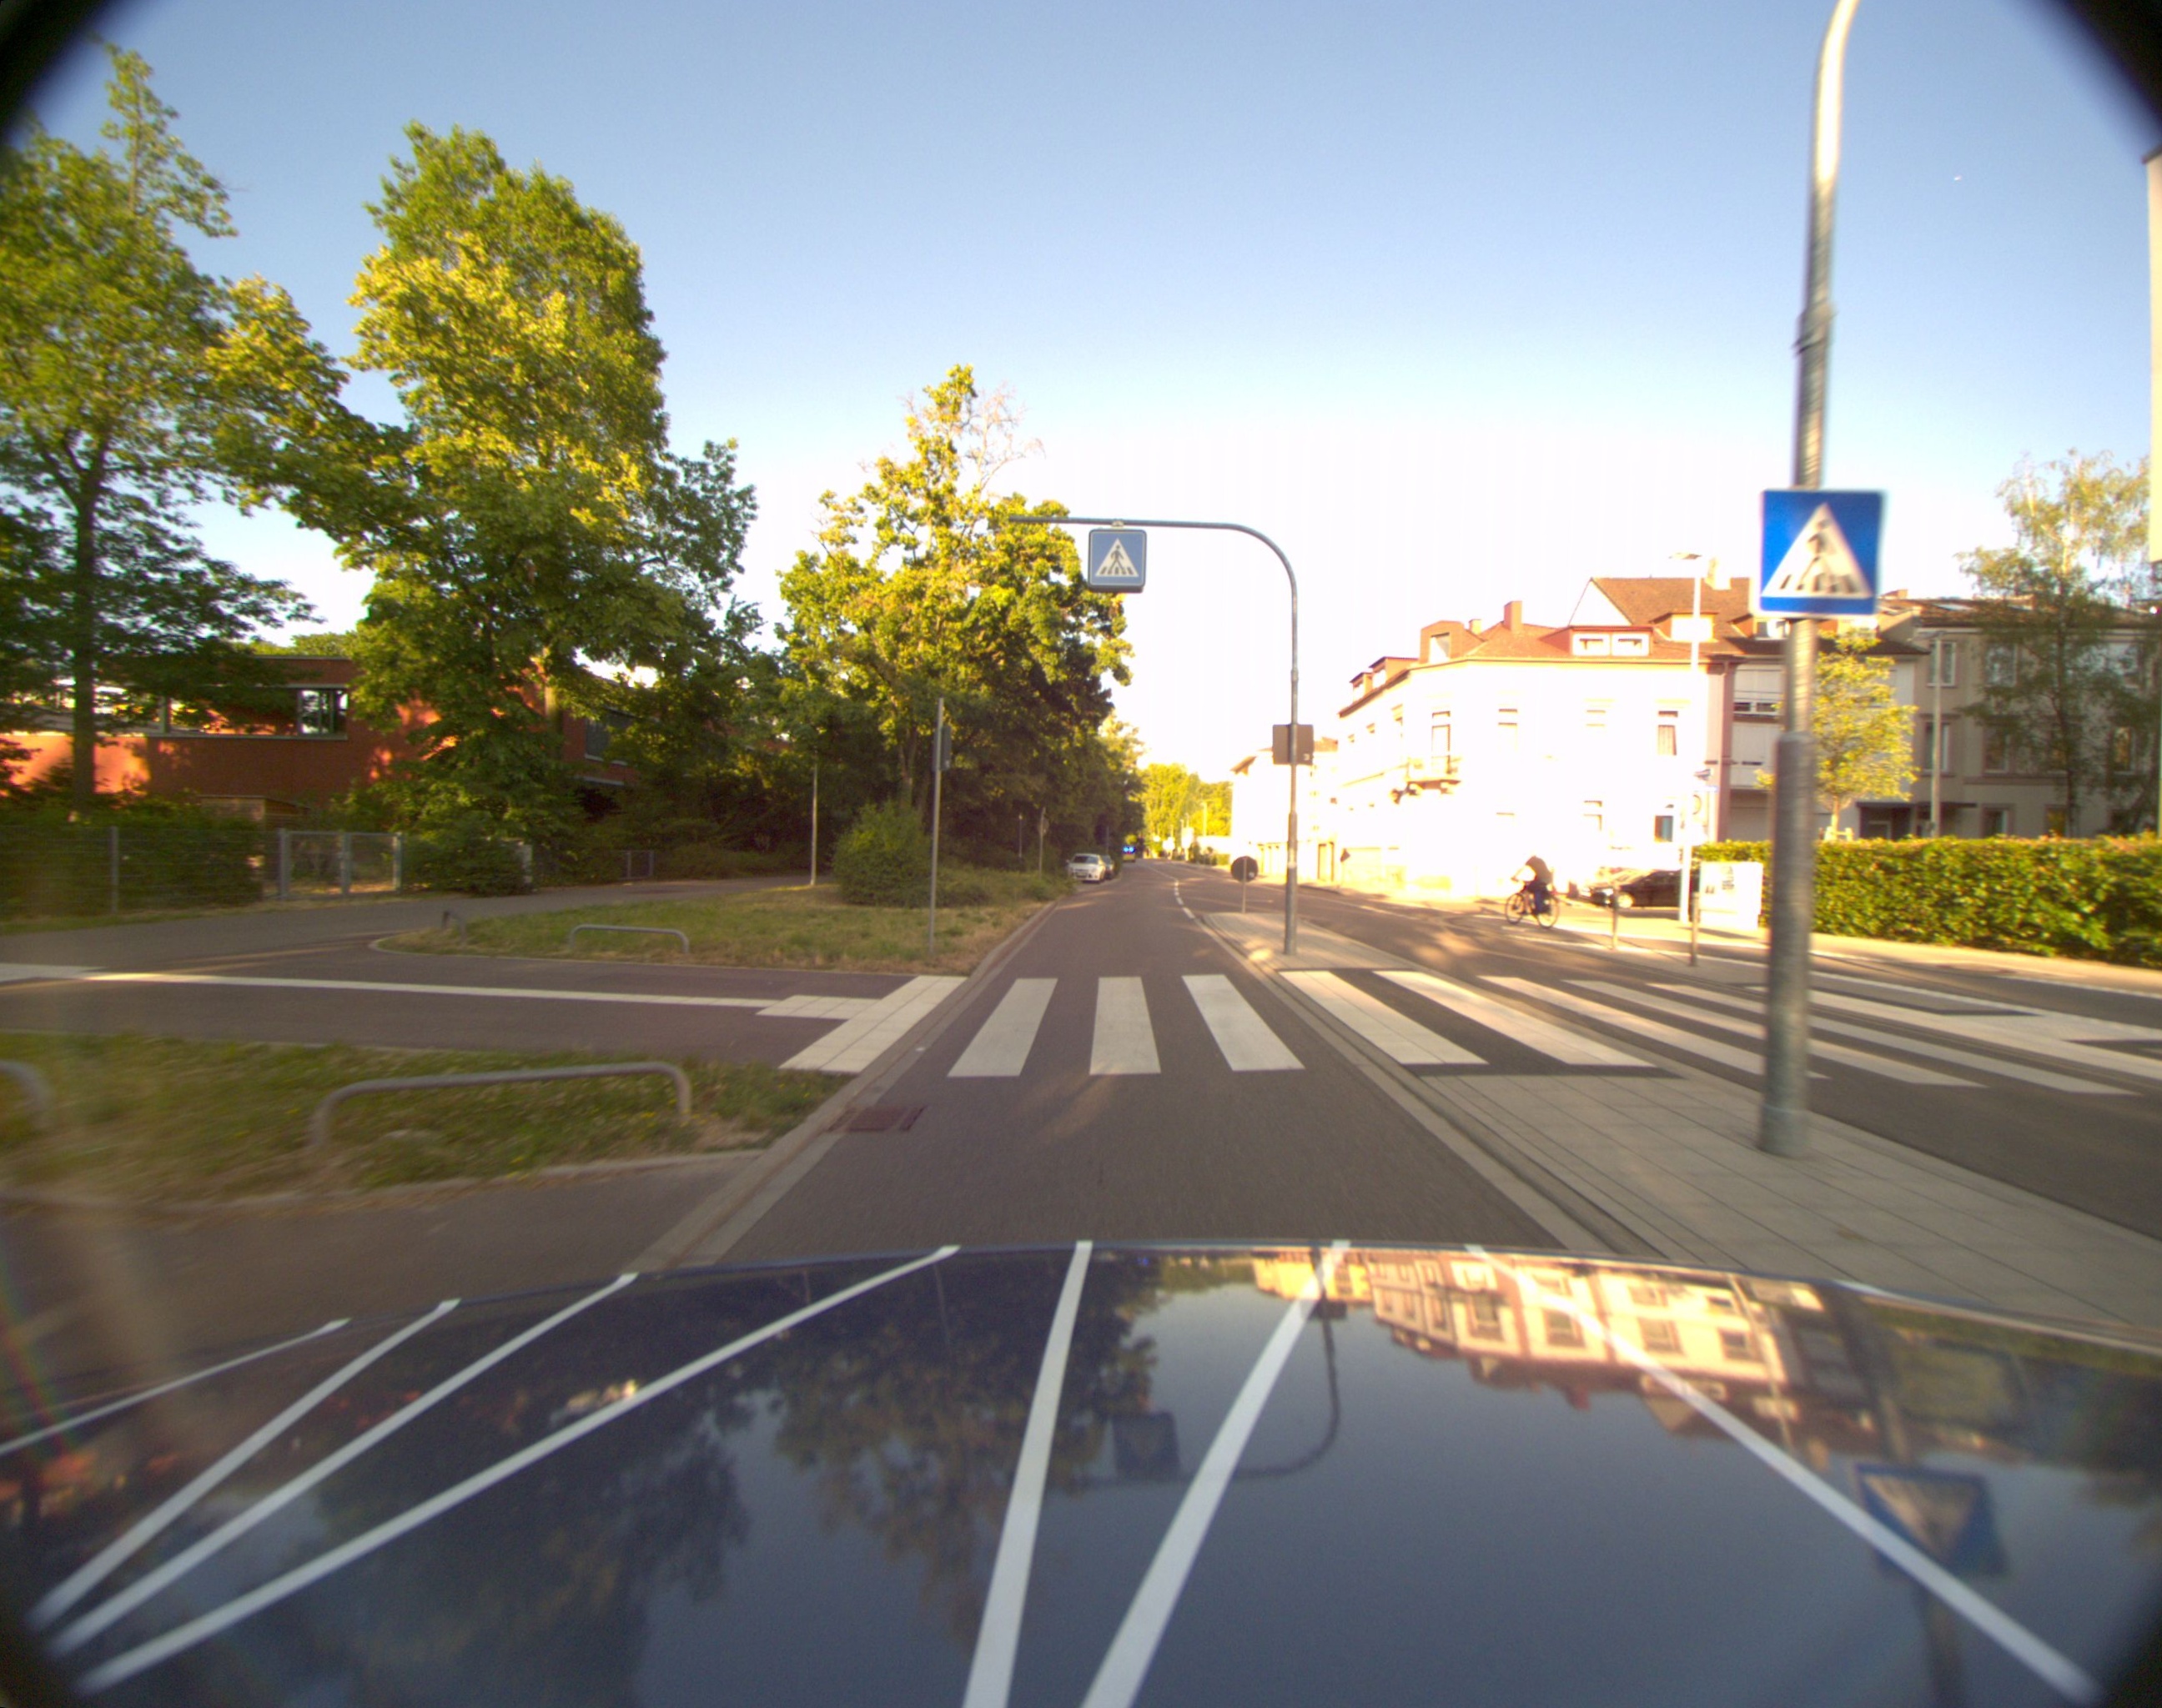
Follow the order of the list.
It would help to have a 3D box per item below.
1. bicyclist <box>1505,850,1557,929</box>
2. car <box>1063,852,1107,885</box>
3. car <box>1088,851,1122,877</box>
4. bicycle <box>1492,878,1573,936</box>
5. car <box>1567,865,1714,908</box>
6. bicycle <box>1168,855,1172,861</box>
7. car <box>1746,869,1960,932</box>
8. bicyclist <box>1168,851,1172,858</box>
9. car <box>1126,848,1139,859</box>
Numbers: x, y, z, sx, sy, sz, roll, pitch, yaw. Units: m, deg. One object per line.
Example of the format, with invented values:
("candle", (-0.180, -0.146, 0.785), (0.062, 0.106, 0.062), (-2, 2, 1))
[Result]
("bicyclist", (9.601, 0.730, 16.228), (0.628, 1.635, 0.758), (1, 1, 2))
("car", (0.245, 0.682, 38.306), (1.751, 1.478, 4.178), (3, 1, 6))
("car", (1.504, 0.567, 45.735), (1.751, 1.478, 4.510), (1, 0, 5))
("bicycle", (9.599, 1.099, 16.237), (0.635, 1.072, 1.883), (1, 1, 2))
("car", (20.299, 1.161, 27.684), (3.915, 1.430, 1.904), (1, 1, 1))
("bicycle", (15.155, 0.670, 129.464), (0.576, 1.056, 1.850), (1, 0, 2))
("car", (21.658, 1.266, 21.466), (3.914, 1.431, 1.817), (1, 5, 4))
("bicyclist", (15.171, 0.079, 129.446), (0.479, 1.258, 0.567), (1, 1, 2))
("car", (9.330, -0.088, 138.327), (2.228, 2.002, 4.891), (1, 0, 4))
